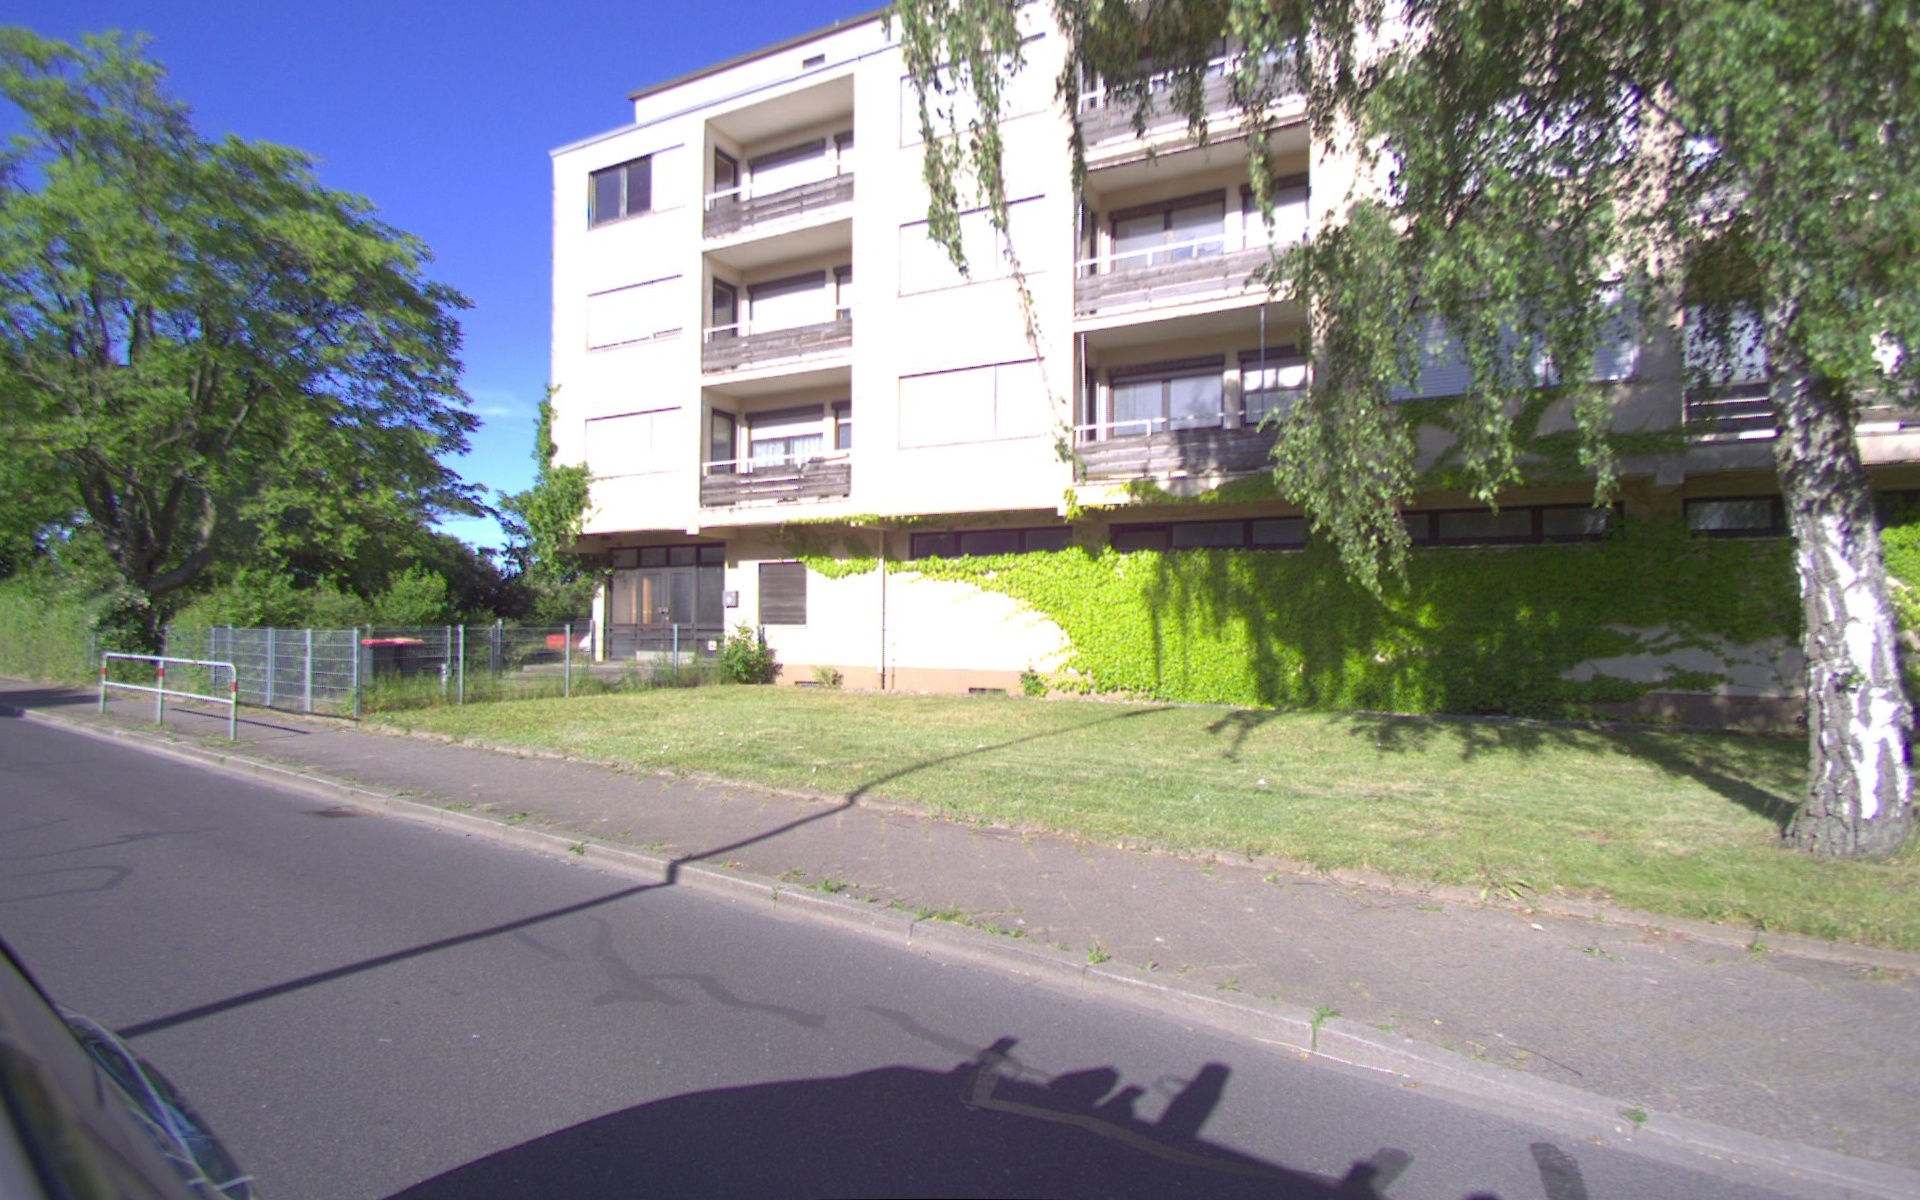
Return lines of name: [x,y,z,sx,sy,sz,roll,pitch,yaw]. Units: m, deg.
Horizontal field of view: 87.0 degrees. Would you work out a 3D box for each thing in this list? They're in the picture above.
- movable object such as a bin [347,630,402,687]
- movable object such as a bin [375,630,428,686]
movable object such as a bin: [-10.906,1.078,18.856,0.709,1.032,0.616,-1,-2,33]
movable object such as a bin: [-10.649,1.097,19.300,0.709,1.032,0.616,-1,-2,33]
